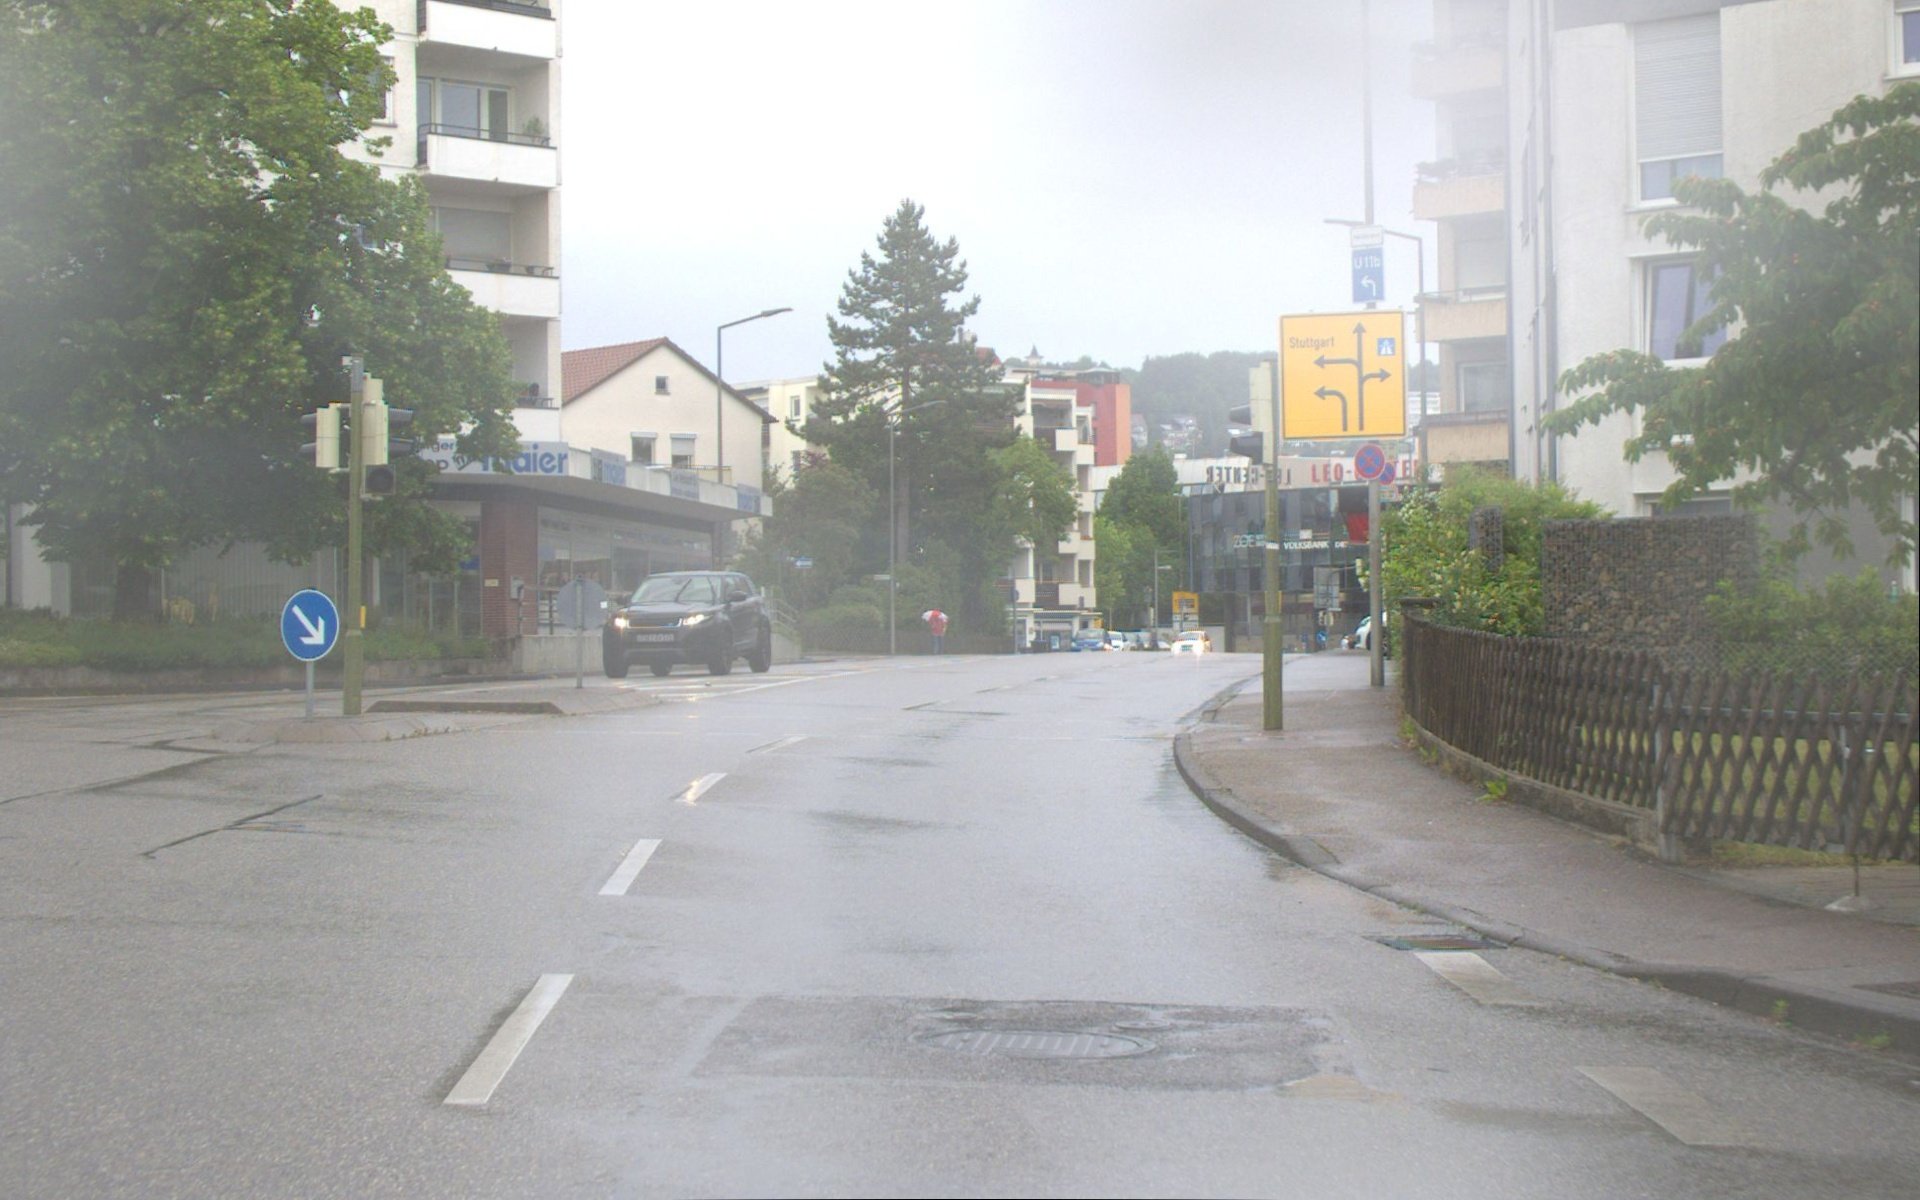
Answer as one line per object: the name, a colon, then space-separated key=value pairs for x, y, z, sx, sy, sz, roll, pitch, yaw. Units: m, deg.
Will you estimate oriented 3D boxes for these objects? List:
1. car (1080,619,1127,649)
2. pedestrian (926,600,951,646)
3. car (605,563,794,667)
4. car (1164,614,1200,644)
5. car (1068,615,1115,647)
car: x=7.149 y=1.675 z=170.731 sx=1.694 sy=1.459 sz=4.681 roll=0 pitch=-1 yaw=10
pedestrian: x=-0.756 y=0.826 z=122.189 sx=0.869 sy=1.601 sz=1.103 roll=0 pitch=-2 yaw=1
car: x=-3.984 y=0.200 z=53.307 sx=1.803 sy=1.551 sz=4.316 roll=0 pitch=1 yaw=12
car: x=11.501 y=1.498 z=177.985 sx=1.698 sy=1.404 sz=3.999 roll=-3 pitch=0 yaw=6
car: x=6.333 y=1.497 z=165.042 sx=1.652 sy=1.516 sz=4.322 roll=0 pitch=-1 yaw=10
